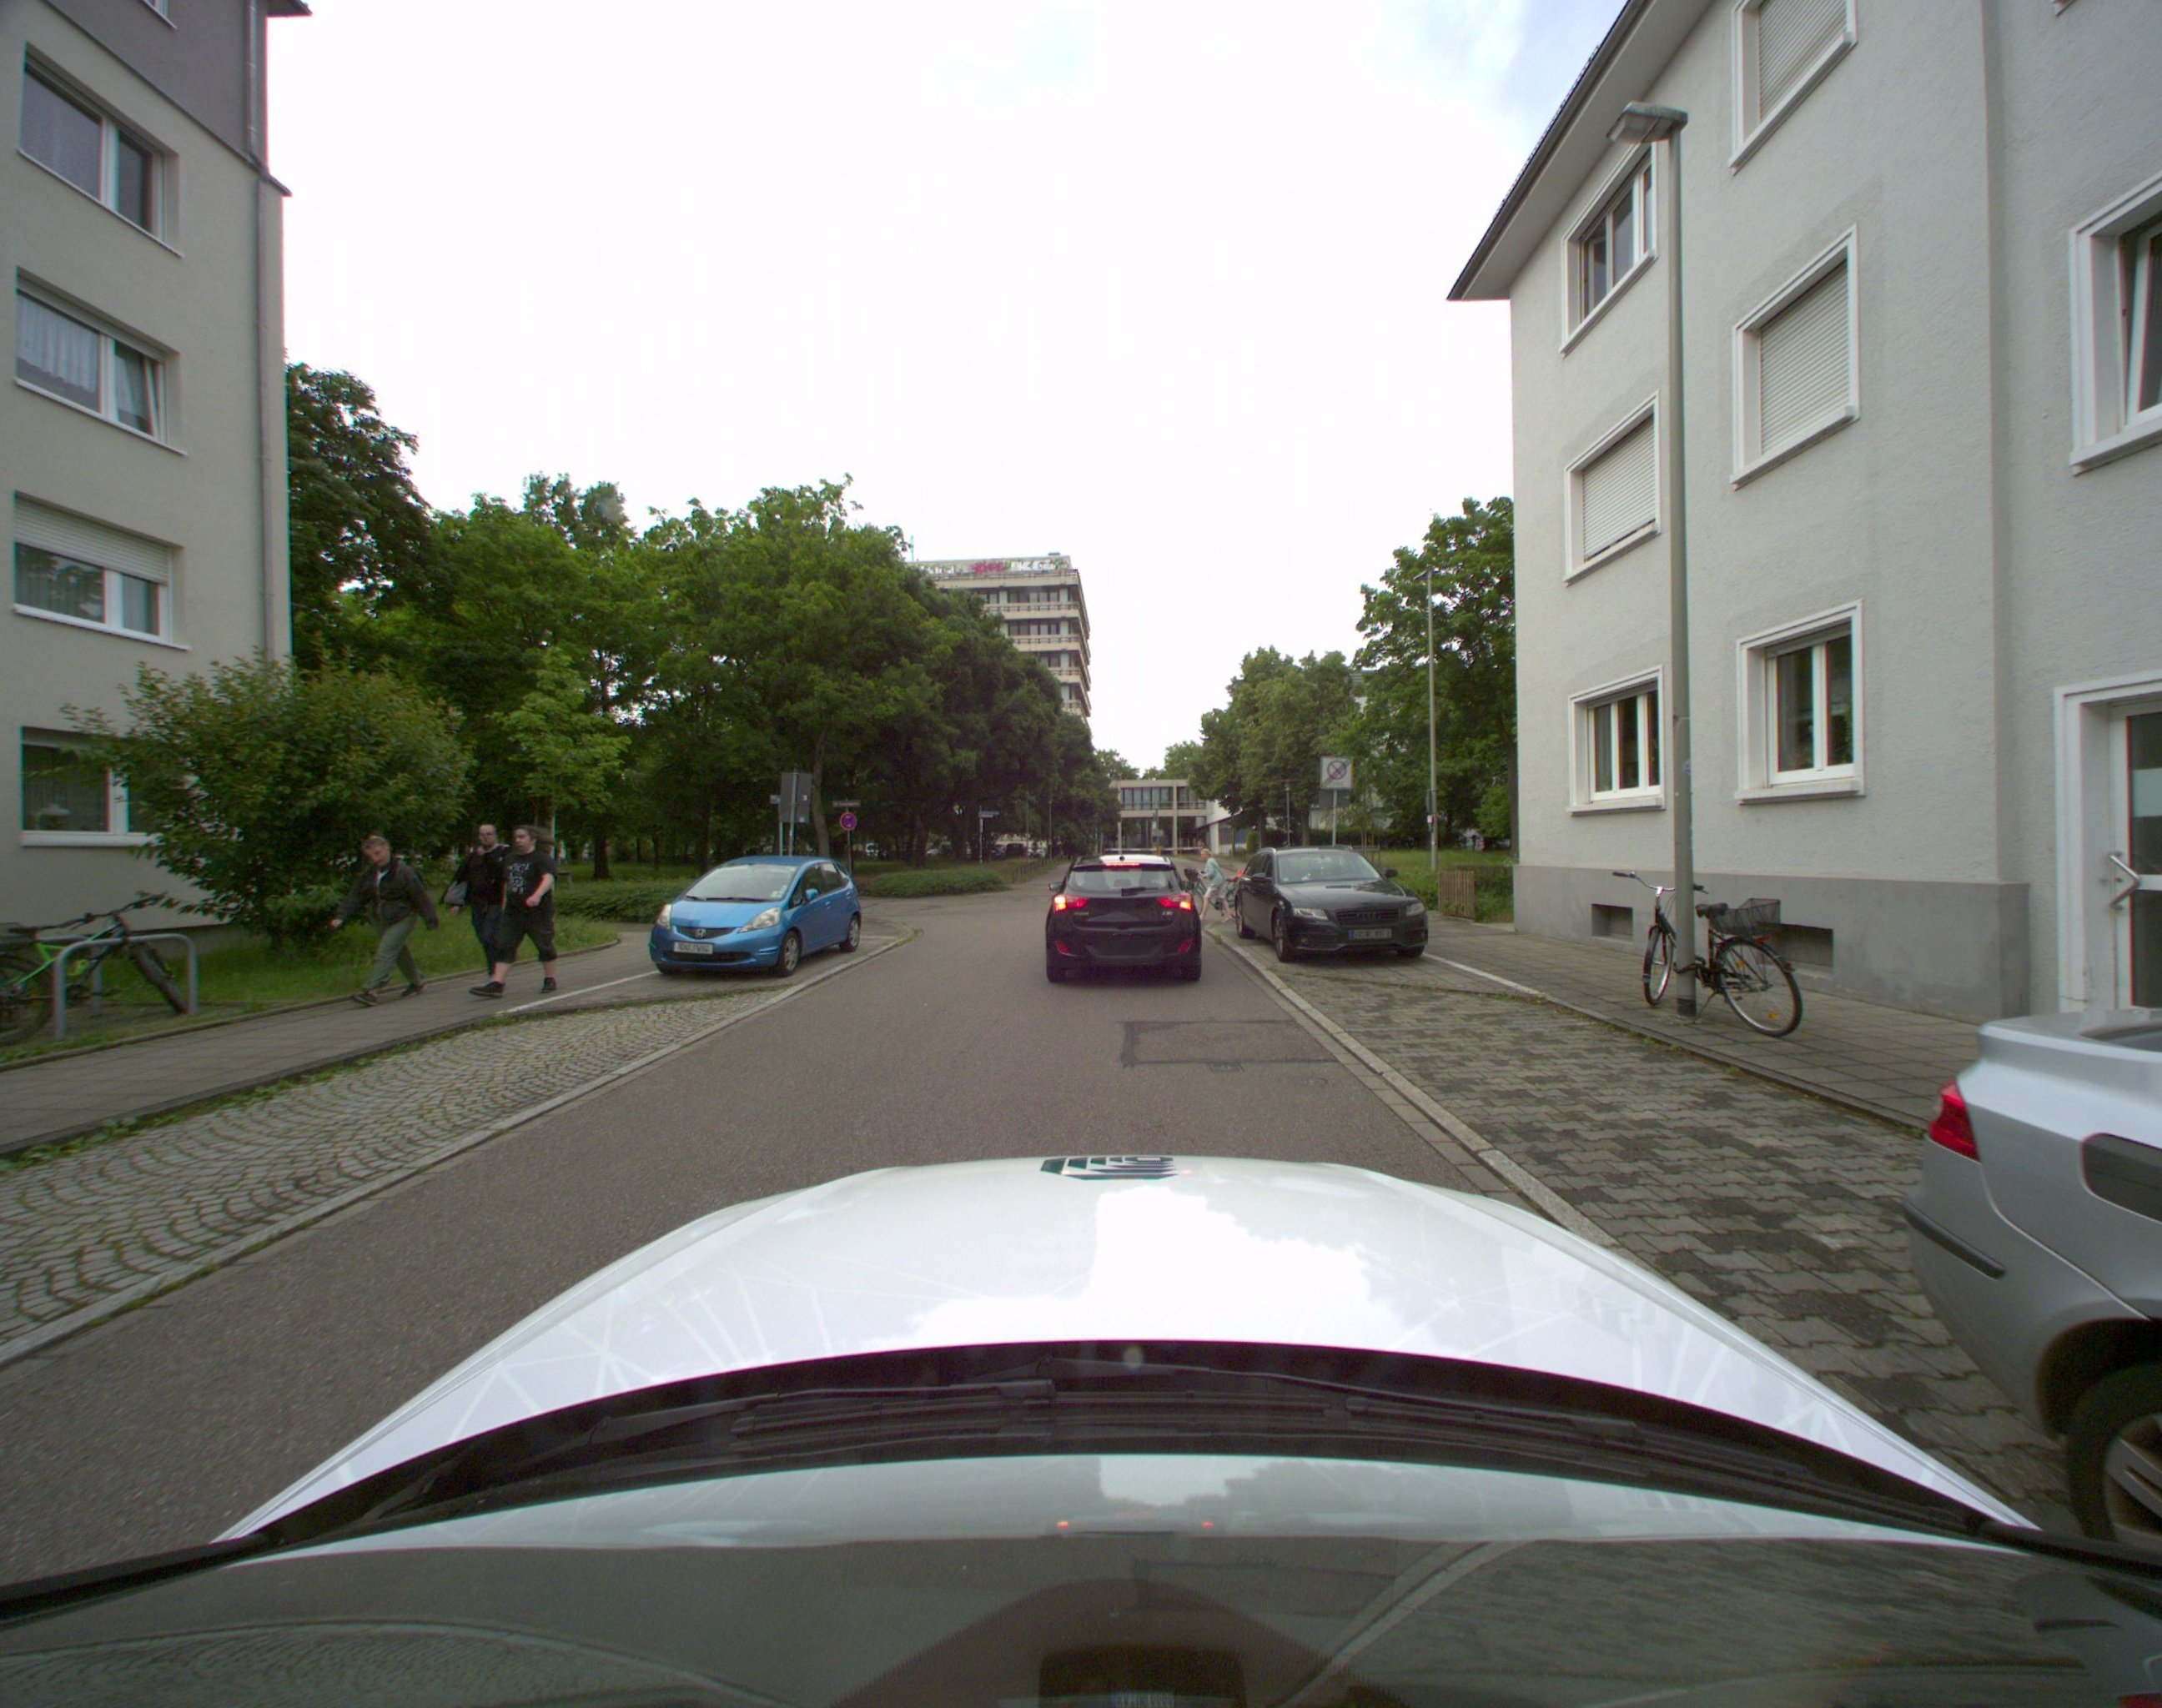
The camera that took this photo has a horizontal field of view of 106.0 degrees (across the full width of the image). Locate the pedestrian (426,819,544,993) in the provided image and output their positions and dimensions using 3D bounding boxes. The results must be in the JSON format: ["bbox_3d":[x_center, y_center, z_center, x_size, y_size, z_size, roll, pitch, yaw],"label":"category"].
[{"bbox_3d":[-6.622,0.555,9.087,0.704,1.854,0.763,-1,0,1],"label":"pedestrian"}]

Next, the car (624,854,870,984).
[{"bbox_3d":[-4.462,0.765,11.600,1.724,1.462,3.959,1,1,2],"label":"car"}]

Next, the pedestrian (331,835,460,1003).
[{"bbox_3d":[-7.091,0.639,8.459,0.612,1.657,0.803,-1,0,1],"label":"pedestrian"}]

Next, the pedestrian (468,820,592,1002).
[{"bbox_3d":[-5.947,0.581,8.841,0.638,1.863,0.975,1,0,2],"label":"pedestrian"}]

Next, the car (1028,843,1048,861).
[{"bbox_3d":[-4.397,-0.175,83.865,1.988,1.762,3.997,-1,0,-2],"label":"car"}]

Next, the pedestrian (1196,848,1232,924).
[{"bbox_3d":[2.762,0.655,16.948,0.565,1.549,0.447,-3,1,-5],"label":"pedestrian"}]

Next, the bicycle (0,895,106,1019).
[{"bbox_3d":[-10.131,0.967,7.052,0.655,1.070,2.177,-1,1,3],"label":"bicycle"}]

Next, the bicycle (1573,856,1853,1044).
[{"bbox_3d":[4.832,0.650,6.440,0.746,1.200,1.896,-3,1,2],"label":"bicycle"}]

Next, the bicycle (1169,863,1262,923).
[{"bbox_3d":[2.844,0.816,17.278,1.810,1.119,0.537,-3,1,-7],"label":"bicycle"}]

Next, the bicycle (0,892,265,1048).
[{"bbox_3d":[-8.552,0.941,7.096,0.654,1.068,2.123,-1,1,3],"label":"bicycle"}]

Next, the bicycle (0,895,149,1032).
[{"bbox_3d":[-9.326,0.953,6.725,0.655,1.070,2.177,-1,1,3],"label":"bicycle"}]

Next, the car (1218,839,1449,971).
[{"bbox_3d":[3.304,0.564,11.716,1.854,1.462,4.725,-2,0,0],"label":"car"}]

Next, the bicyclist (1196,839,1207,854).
[{"bbox_3d":[13.029,-0.808,88.151,1.013,1.644,0.924,-1,1,3],"label":"bicyclist"}]

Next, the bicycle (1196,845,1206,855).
[{"bbox_3d":[12.952,-0.462,88.010,0.863,1.074,2.144,-1,1,3],"label":"bicycle"}]

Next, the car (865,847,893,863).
[{"bbox_3d":[-20.943,0.121,84.604,1.912,1.618,3.998,-1,0,-2],"label":"car"}]

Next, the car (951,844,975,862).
[{"bbox_3d":[-12.083,-0.085,83.722,1.988,1.728,3.997,-1,-1,-2],"label":"car"}]

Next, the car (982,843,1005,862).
[{"bbox_3d":[-8.975,-0.121,83.951,1.988,1.794,3.997,-1,-1,-2],"label":"car"}]

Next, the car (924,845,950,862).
[{"bbox_3d":[-14.789,-0.050,83.878,1.988,1.618,3.998,-1,0,-2],"label":"car"}]

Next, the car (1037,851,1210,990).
[{"bbox_3d":[0.467,0.711,10.651,1.840,1.462,3.827,-1,0,0],"label":"car"}]
